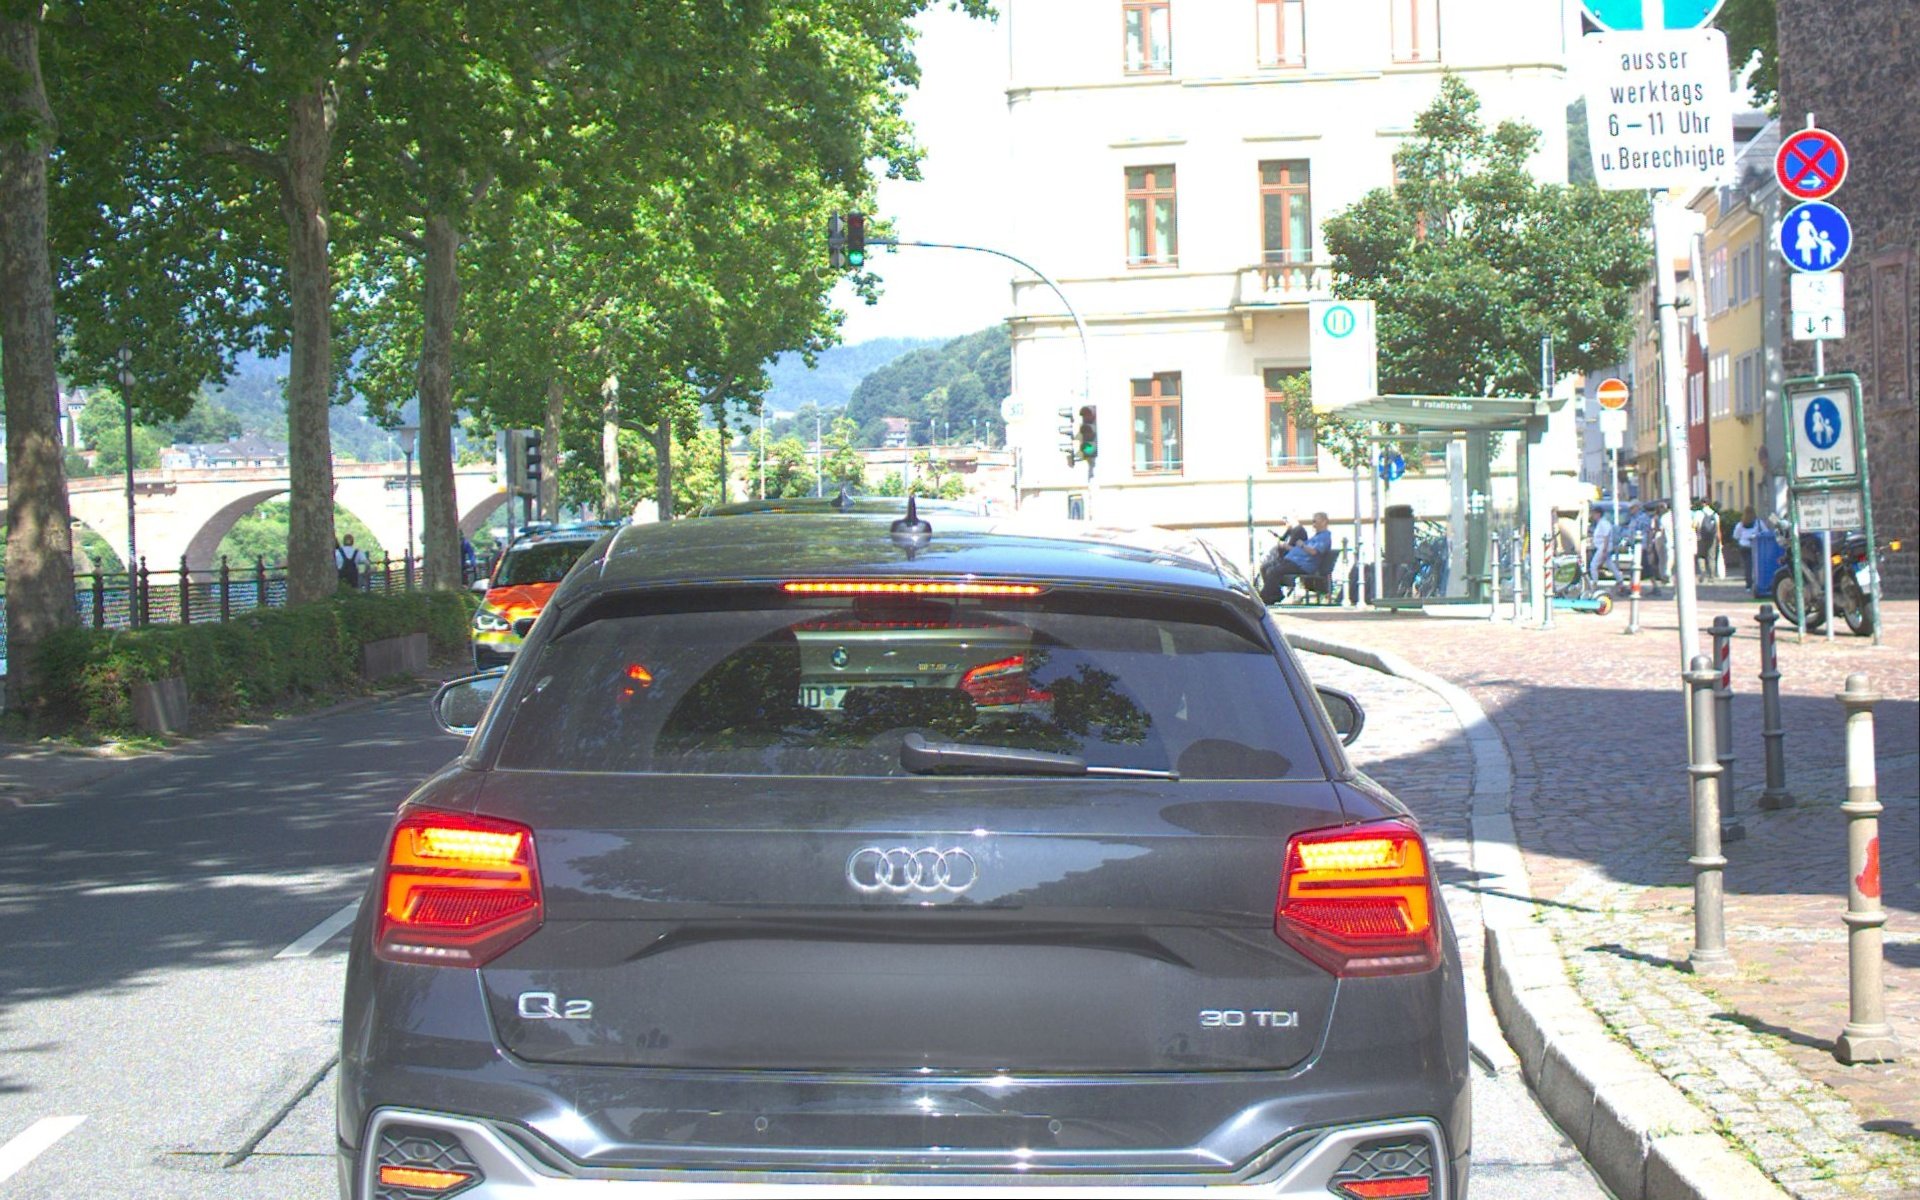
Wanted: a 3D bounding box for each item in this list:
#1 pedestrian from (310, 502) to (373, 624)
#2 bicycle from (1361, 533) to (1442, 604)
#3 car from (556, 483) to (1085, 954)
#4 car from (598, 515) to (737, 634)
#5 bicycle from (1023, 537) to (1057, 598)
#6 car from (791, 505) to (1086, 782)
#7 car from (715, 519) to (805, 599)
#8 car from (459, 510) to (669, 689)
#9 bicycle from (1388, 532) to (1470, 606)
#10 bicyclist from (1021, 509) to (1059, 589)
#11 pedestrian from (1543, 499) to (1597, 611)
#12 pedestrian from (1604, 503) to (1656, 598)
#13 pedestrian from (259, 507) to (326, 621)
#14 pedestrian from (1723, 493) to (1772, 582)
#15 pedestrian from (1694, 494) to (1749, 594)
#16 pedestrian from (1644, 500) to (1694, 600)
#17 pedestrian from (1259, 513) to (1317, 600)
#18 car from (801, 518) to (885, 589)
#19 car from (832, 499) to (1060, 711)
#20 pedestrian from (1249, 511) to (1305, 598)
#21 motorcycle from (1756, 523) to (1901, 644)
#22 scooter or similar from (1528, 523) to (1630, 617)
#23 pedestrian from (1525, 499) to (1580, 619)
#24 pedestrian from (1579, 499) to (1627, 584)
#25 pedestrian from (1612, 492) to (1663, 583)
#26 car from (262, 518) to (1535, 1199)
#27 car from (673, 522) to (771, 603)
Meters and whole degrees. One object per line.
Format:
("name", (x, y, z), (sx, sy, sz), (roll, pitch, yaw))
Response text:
("pedestrian", (-10.298, -0.618, 57.250), (0.911, 2.007, 0.585), (1, 0, 4))
("bicycle", (6.364, -0.454, 49.564), (1.184, 1.012, 0.179), (1, 0, -19))
("car", (-0.498, 0.370, 13.489), (1.793, 1.589, 3.399), (1, 1, -1))
("car", (-4.427, -0.410, 52.506), (1.769, 1.654, 4.000), (-3, 1, -1))
("bicycle", (1.452, -0.589, 62.657), (0.437, 1.082, 1.677), (1, 0, -5))
("car", (-0.144, 0.215, 21.789), (1.710, 1.603, 3.655), (0, 1, -1))
("car", (-4.884, -1.035, 84.276), (1.813, 1.719, 4.422), (-6, 1, 0))
("car", (-4.065, -0.050, 35.849), (1.673, 1.654, 4.223), (-4, 1, -1))
("bicycle", (6.681, -0.437, 48.957), (1.201, 1.031, 0.179), (1, 0, -19))
("bicyclist", (1.455, -0.926, 62.675), (0.605, 1.445, 0.591), (1, 0, -5))
("pedestrian", (7.549, -0.557, 42.544), (0.557, 1.380, 0.588), (1, 0, 2))
("pedestrian", (14.423, -1.064, 74.036), (0.944, 2.007, 0.807), (1, 0, 0))
("pedestrian", (-10.663, -0.571, 54.932), (0.911, 1.805, 0.585), (1, -1, 4))
("pedestrian", (14.476, -1.155, 63.181), (0.692, 1.607, 0.890), (-2, 1, 23))
("pedestrian", (15.396, -1.131, 69.517), (0.940, 2.007, 0.807), (1, 0, 2))
("pedestrian", (14.393, -1.006, 69.845), (0.839, 2.007, 0.738), (1, 0, 0))
("pedestrian", (4.588, -0.609, 48.099), (0.663, 1.207, 0.641), (1, 0, -6))
("car", (-3.054, -1.218, 90.490), (1.993, 1.800, 4.000), (1, 0, 1))
("car", (-0.135, -0.001, 29.415), (1.794, 1.676, 4.000), (1, 1, -1))
("pedestrian", (4.499, -0.642, 48.820), (0.663, 1.227, 0.641), (1, 0, -6))
("motorcycle", (7.601, -0.165, 30.194), (0.566, 1.009, 2.490), (-1, 1, -2))
("scooter or similar", (7.087, -0.345, 39.352), (1.088, 1.062, 0.323), (1, 0, -2))
("pedestrian", (9.444, -0.655, 54.851), (0.747, 1.884, 0.752), (1, 0, 2))
("pedestrian", (12.030, -1.096, 64.330), (0.776, 1.559, 0.645), (-2, 1, 5))
("pedestrian", (12.404, -1.147, 62.967), (0.776, 1.616, 0.645), (-2, 1, 2))
("car", (-0.111, 0.613, 6.570), (1.743, 1.504, 3.647), (1, 1, -1))
("car", (-5.104, -0.828, 74.158), (1.738, 1.566, 4.092), (-4, 1, 0))
